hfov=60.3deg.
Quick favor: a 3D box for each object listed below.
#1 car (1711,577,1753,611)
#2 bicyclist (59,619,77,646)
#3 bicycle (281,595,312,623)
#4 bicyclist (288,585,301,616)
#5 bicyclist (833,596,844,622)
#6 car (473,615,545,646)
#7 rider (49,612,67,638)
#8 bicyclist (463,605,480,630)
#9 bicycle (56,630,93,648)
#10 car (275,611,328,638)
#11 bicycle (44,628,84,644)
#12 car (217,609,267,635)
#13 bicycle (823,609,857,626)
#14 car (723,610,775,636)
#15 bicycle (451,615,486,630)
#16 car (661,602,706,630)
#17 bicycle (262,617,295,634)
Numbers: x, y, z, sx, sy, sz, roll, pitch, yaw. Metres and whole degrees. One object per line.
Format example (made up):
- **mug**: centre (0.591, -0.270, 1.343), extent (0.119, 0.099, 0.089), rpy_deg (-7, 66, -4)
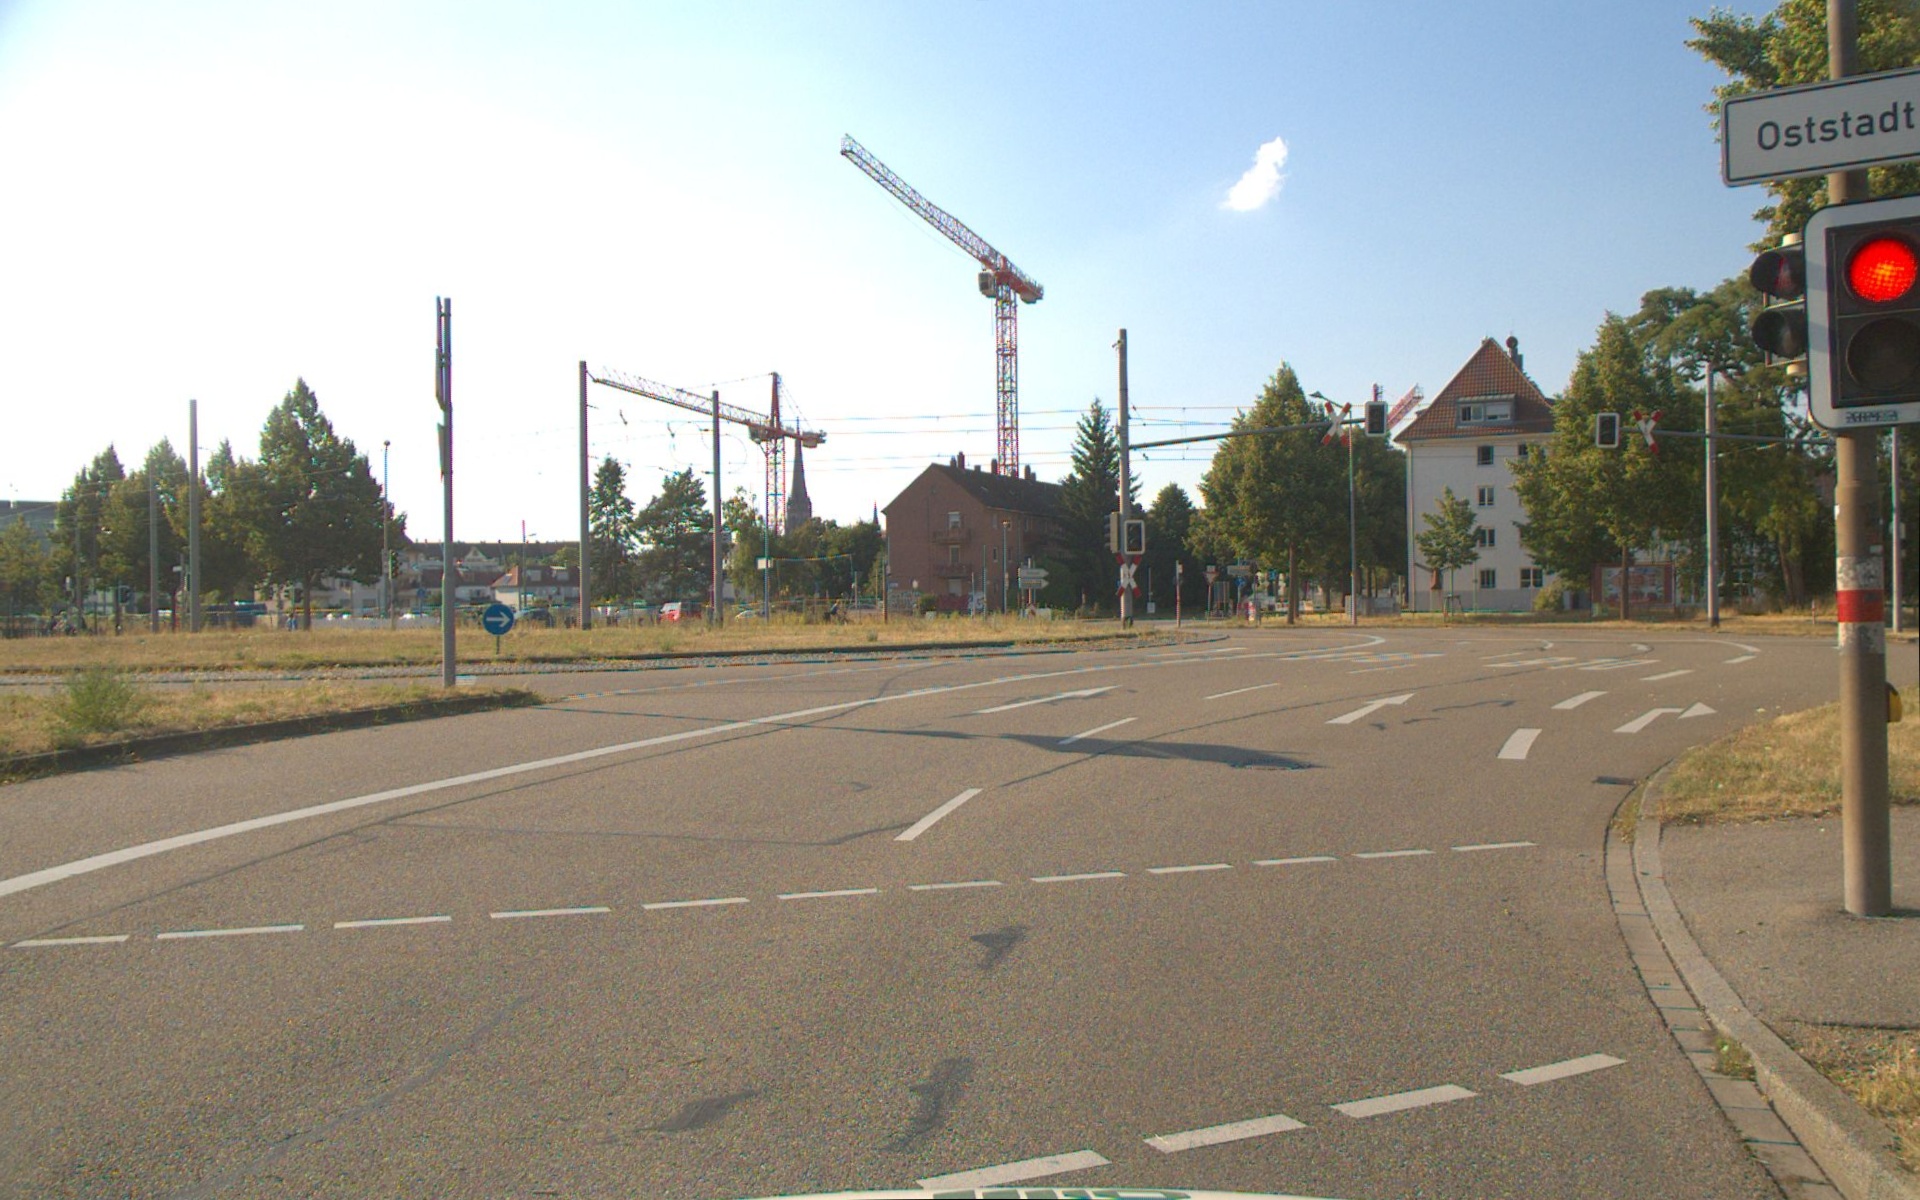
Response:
- **car**: centre (38.596, -0.281, 82.667), extent (1.737, 1.646, 3.964), rpy_deg (-1, -1, 27)
- **bicyclist**: centre (-44.861, 1.636, 83.166), extent (0.510, 1.349, 0.650), rpy_deg (-1, 0, 43)
- **bicycle**: centre (-36.741, 0.492, 91.552), extent (1.522, 1.499, 0.475), rpy_deg (-1, 0, -29)
- **bicyclist**: centre (-36.826, 0.046, 91.540), extent (0.600, 1.701, 0.473), rpy_deg (0, -1, -30)
- **bicyclist**: centre (-7.023, 0.516, 95.714), extent (0.610, 1.537, 0.418), rpy_deg (-1, 0, -6)
- **car**: centre (-28.453, 1.890, 104.354), extent (3.950, 1.847, 1.977), rpy_deg (-1, 0, -33)
- **rider**: centre (-48.535, 1.341, 89.027), extent (0.676, 1.349, 0.650), rpy_deg (-1, 0, 43)
- **bicyclist**: centre (-29.095, 1.040, 98.538), extent (0.880, 1.421, 0.525), rpy_deg (-1, 0, -6)
- **bicycle**: centre (-45.612, 2.012, 85.203), extent (0.535, 0.875, 1.611), rpy_deg (-1, 0, 40)
- **car**: centre (-51.889, 1.917, 130.307), extent (3.917, 2.049, 1.994), rpy_deg (-1, 0, 34)
- **bicycle**: centre (-44.984, 1.819, 83.023), extent (0.472, 0.757, 1.711), rpy_deg (-1, 0, 42)
- **car**: centre (-58.683, 1.817, 135.167), extent (3.917, 2.049, 1.994), rpy_deg (-1, 0, 34)
- **bicycle**: centre (-6.947, 1.012, 95.721), extent (1.949, 0.934, 0.429), rpy_deg (-1, 0, -6)
- **car**: centre (-16.911, 1.831, 132.484), extent (3.728, 2.049, 1.673), rpy_deg (-1, -1, 18)
- **bicycle**: centre (-29.281, 1.313, 98.552), extent (1.949, 0.839, 0.429), rpy_deg (-1, 0, -6)
- **car**: centre (-19.436, 1.145, 116.101), extent (1.898, 1.886, 3.962), rpy_deg (-1, 0, -28)
- **bicycle**: centre (-37.062, 1.365, 89.921), extent (1.595, 0.875, 0.540), rpy_deg (-1, 0, -27)
